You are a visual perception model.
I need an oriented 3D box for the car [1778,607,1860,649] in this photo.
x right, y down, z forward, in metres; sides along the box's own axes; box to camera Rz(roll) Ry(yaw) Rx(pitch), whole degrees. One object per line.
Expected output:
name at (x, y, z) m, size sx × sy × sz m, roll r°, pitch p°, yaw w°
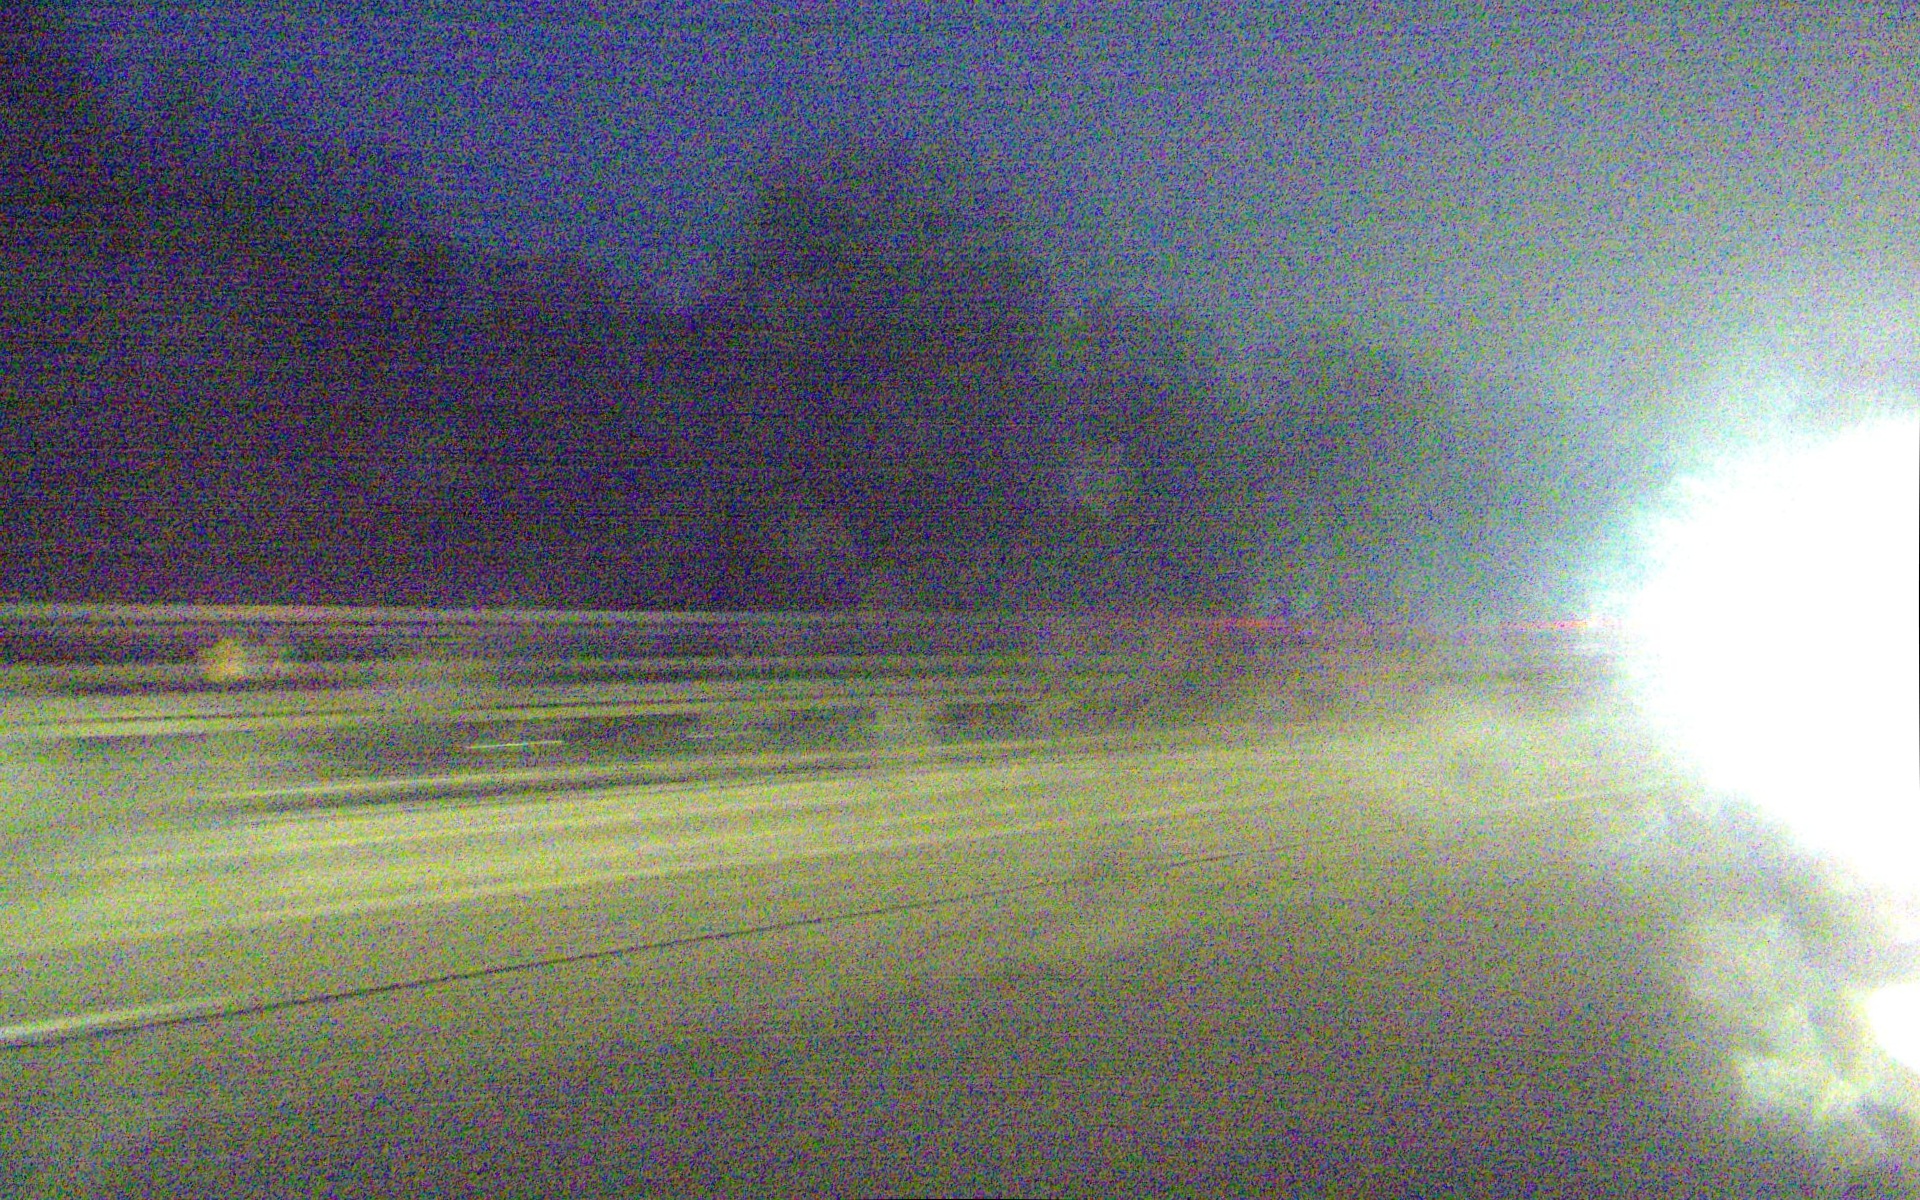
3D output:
car at (44.971, 1.473, 52.549) m, size 4.760 × 2.040 × 1.981 m, roll 2°, pitch 0°, yaw -34°
